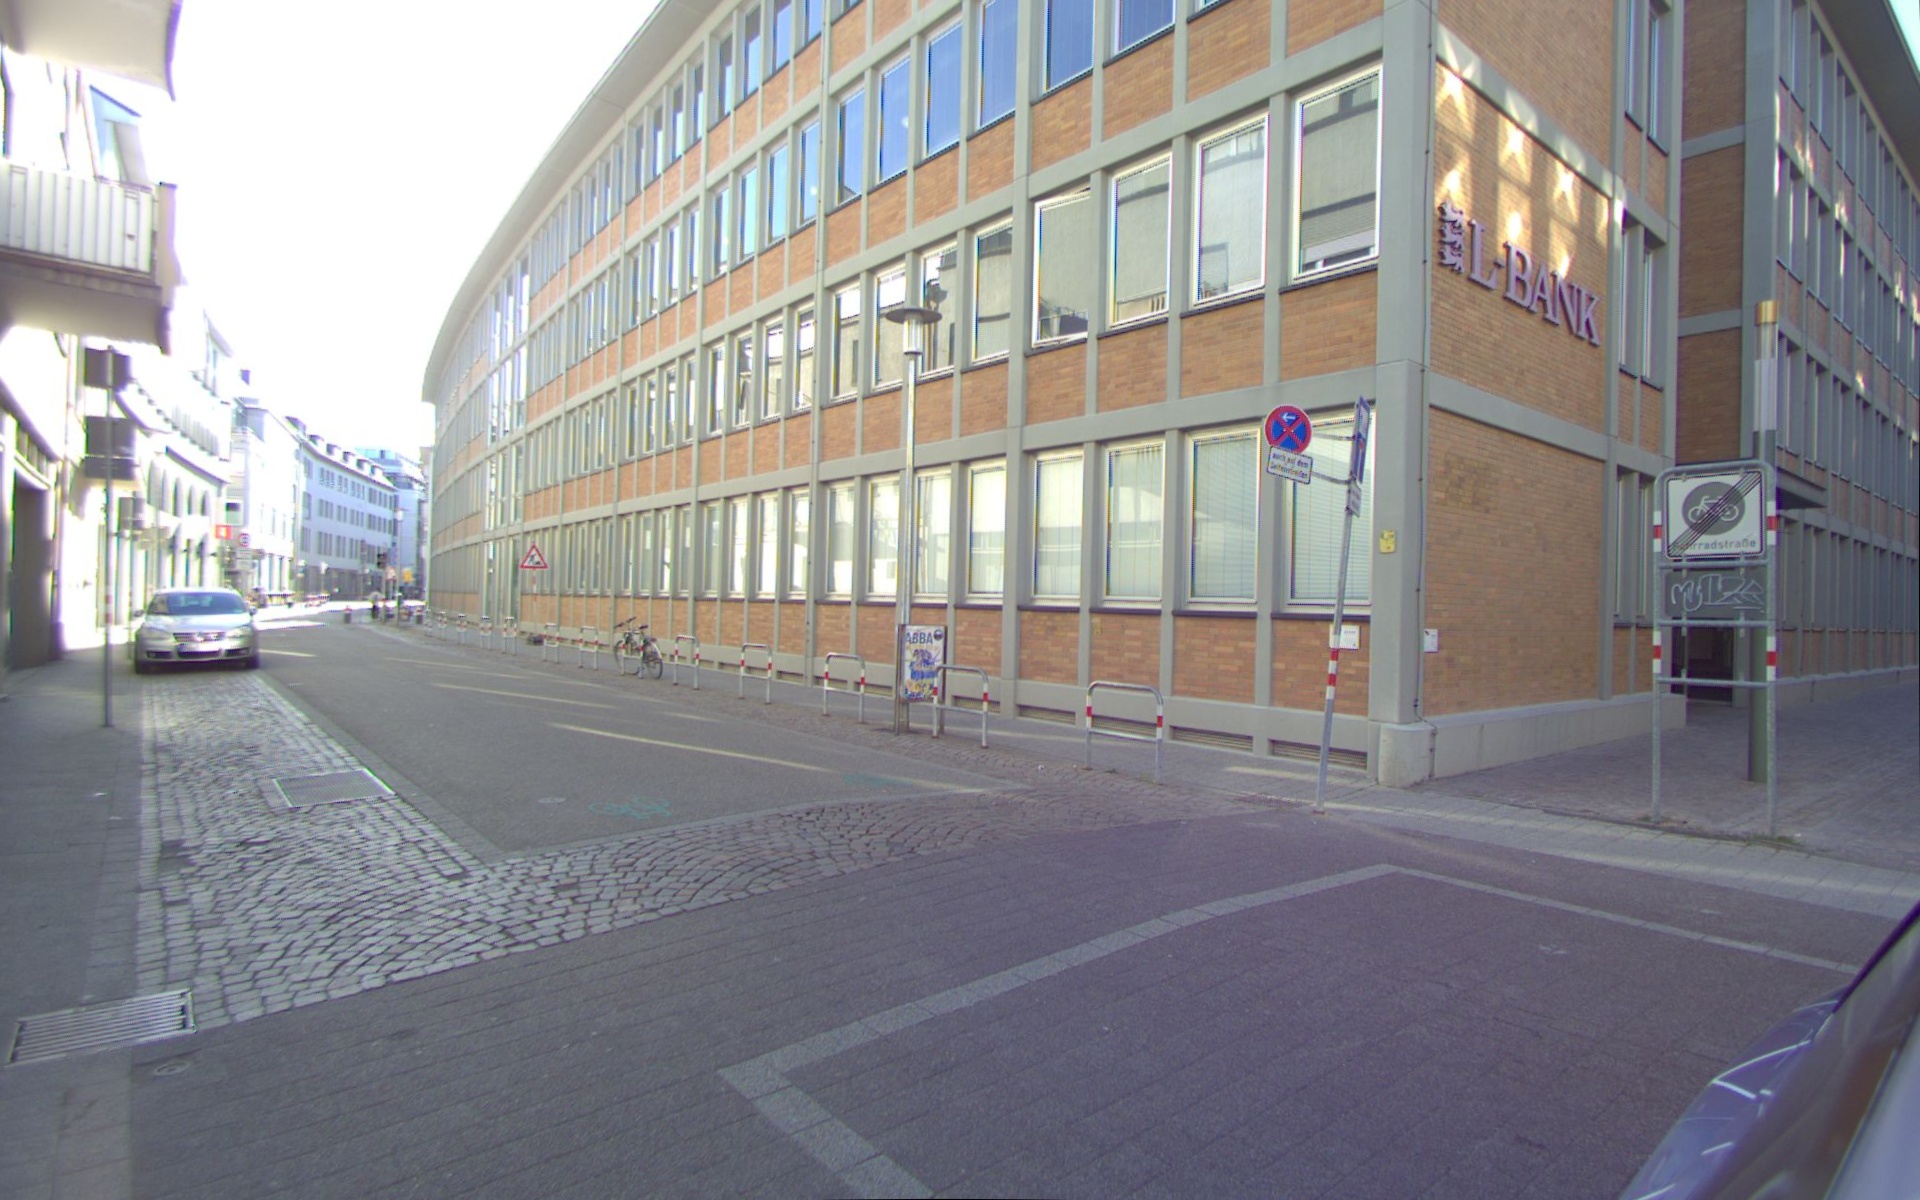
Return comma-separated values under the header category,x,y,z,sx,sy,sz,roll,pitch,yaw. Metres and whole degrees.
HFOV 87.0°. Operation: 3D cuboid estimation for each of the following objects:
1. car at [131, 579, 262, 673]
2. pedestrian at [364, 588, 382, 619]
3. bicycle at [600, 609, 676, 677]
category,x,y,z,sx,sy,sz,roll,pitch,yaw
car,-13.879,0.376,18.387,1.739,1.488,3.810,-1,2,-38
pedestrian,-28.505,0.175,49.122,0.647,1.459,0.595,1,0,-37
bicycle,-5.916,0.761,18.527,0.627,1.130,1.928,1,0,-40
